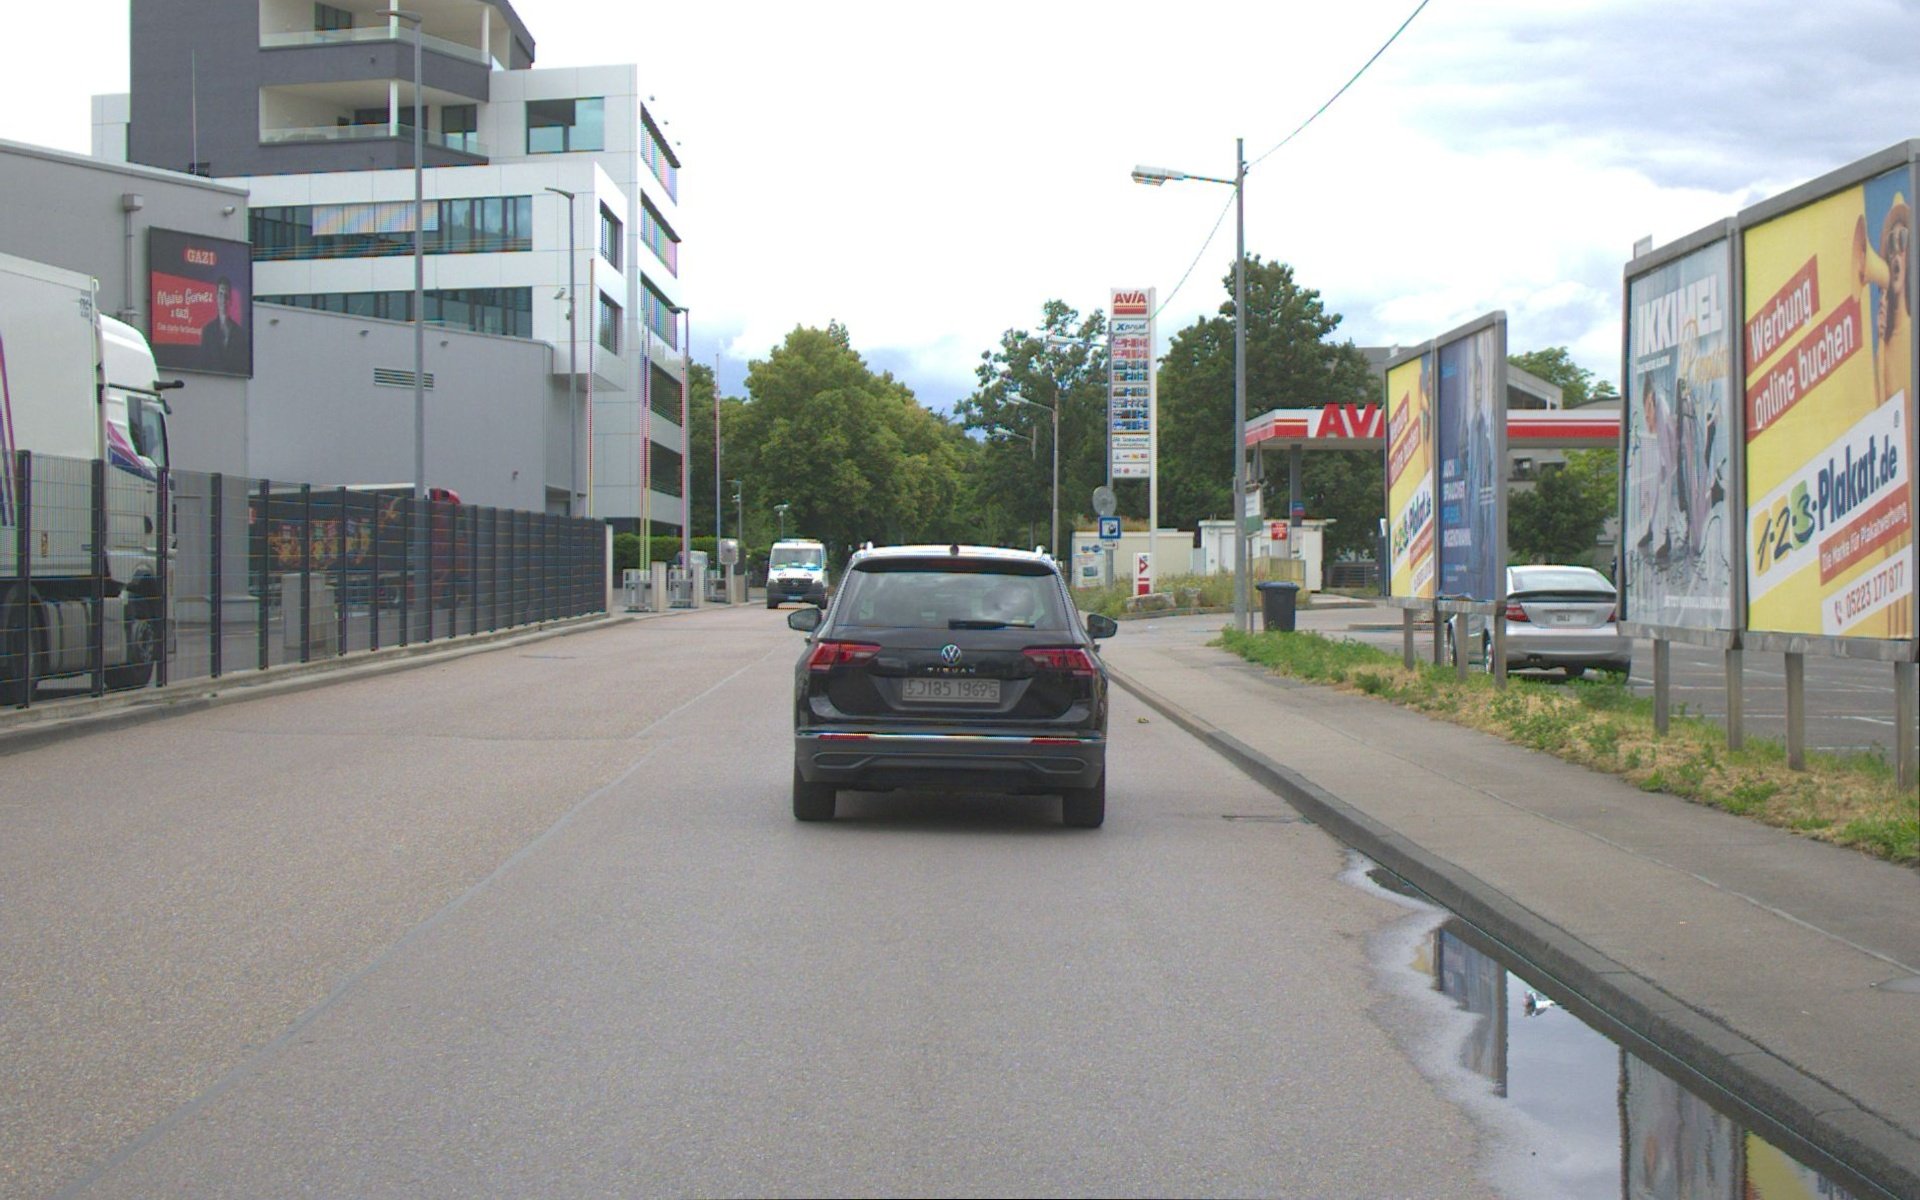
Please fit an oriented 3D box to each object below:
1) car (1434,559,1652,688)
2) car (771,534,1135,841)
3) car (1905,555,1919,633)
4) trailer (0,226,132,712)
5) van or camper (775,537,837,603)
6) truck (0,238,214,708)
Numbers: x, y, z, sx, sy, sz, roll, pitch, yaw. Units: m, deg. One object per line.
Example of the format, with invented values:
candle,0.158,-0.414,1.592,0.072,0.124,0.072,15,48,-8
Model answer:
car,7.110,0.271,42.367,1.889,1.440,4.428,2,0,0
car,-0.051,0.485,21.078,1.993,1.678,4.371,0,0,0
car,21.798,-0.130,73.409,1.993,1.700,4.000,0,0,-2
trailer,-9.997,-1.051,26.351,3.133,4.246,14.018,-4,0,2
van or camper,-5.324,-1.040,119.007,1.993,2.248,4.000,0,0,0
truck,-9.722,-1.031,32.891,3.128,4.103,6.941,-4,0,3
